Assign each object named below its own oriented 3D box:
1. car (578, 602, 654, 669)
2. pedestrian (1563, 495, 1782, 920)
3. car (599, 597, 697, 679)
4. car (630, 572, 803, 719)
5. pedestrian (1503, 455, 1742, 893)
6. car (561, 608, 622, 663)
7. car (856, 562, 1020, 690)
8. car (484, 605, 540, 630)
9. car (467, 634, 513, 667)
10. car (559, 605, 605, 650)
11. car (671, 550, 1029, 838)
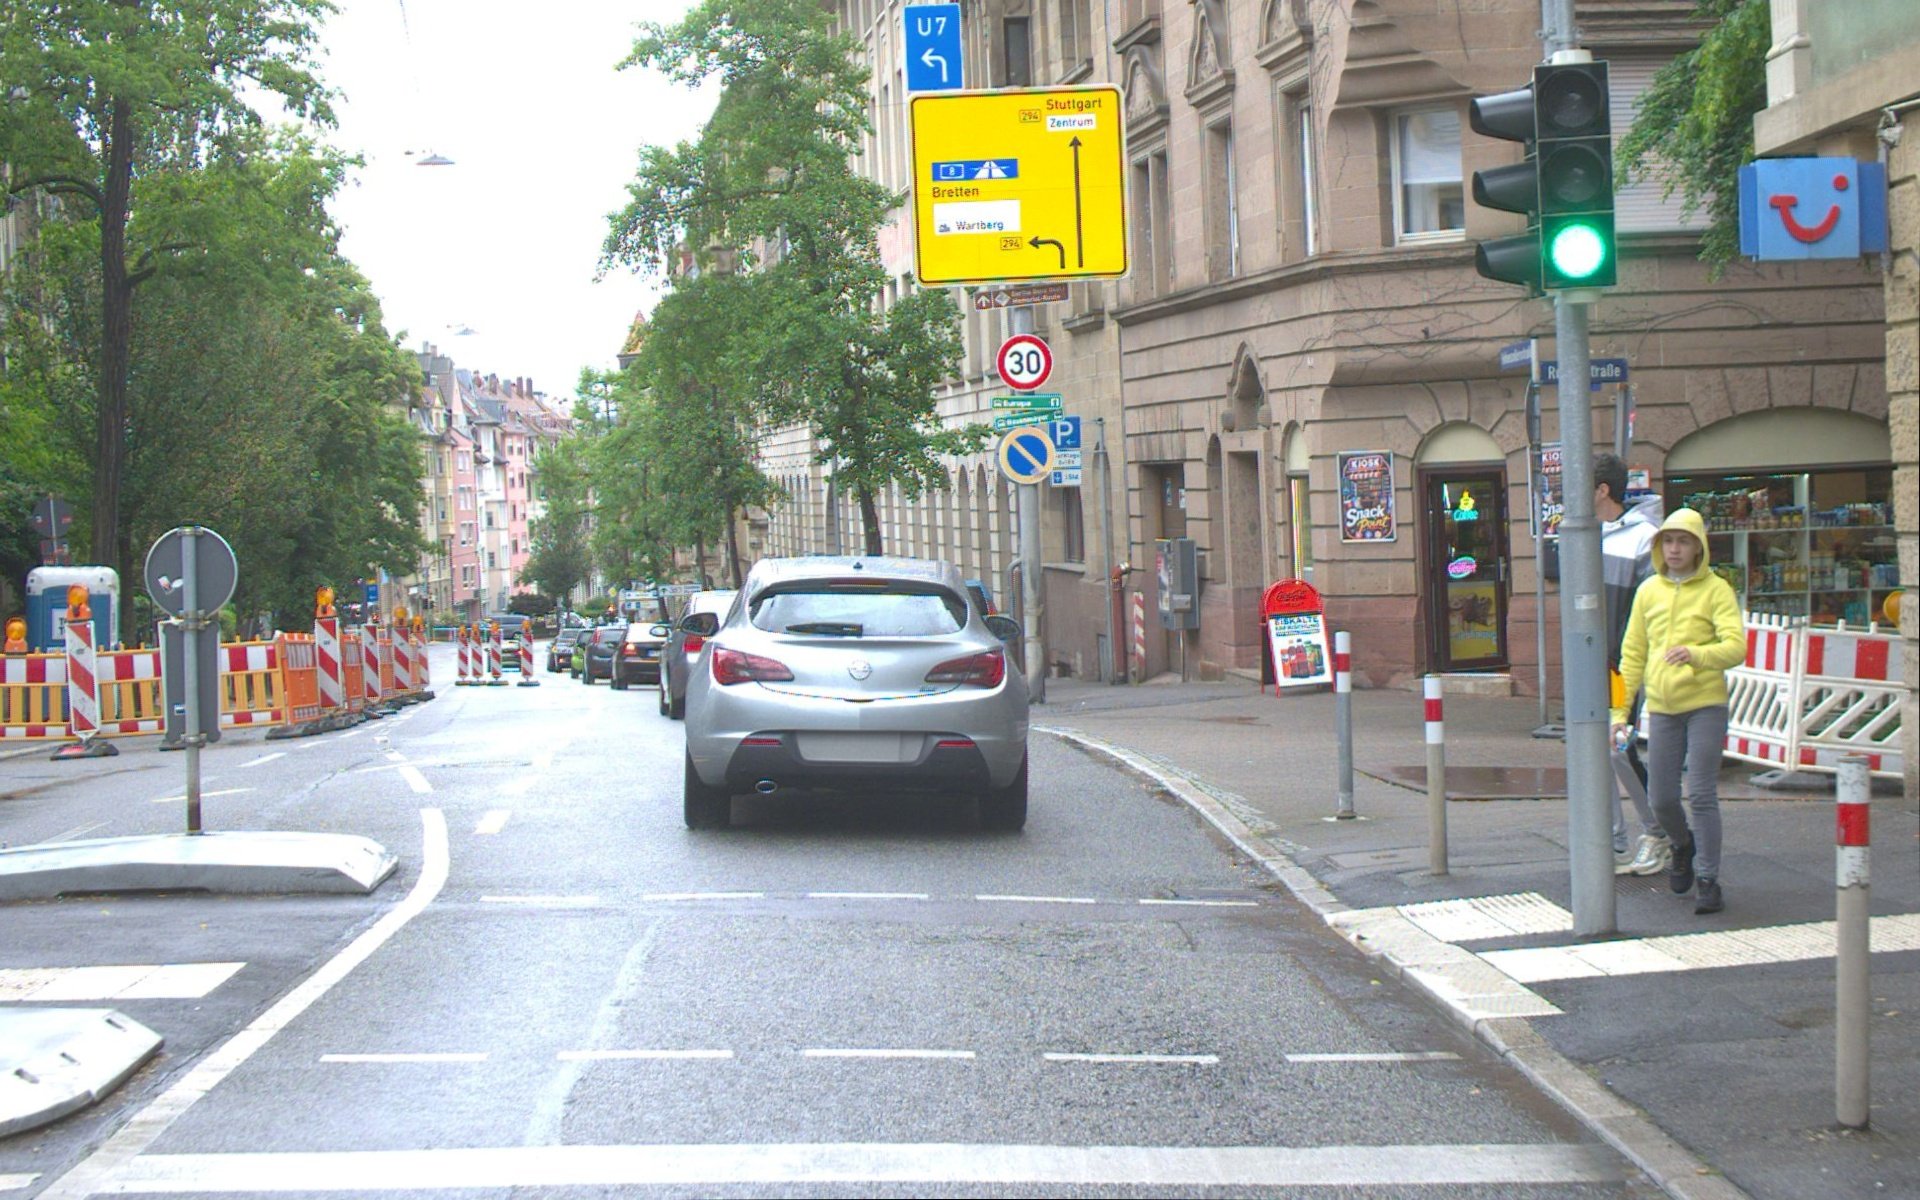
[{"bbox_3d":[-8.651,0.903,86.246,1.656,1.538,3.666,-4,0,-8],"label":"car"},{"bbox_3d":[2.770,0.401,13.407,0.596,1.579,0.665,-4,1,-2],"label":"pedestrian"},{"bbox_3d":[-6.518,0.804,71.490,1.656,1.538,3.666,-4,0,-10],"label":"car"},{"bbox_3d":[-2.695,0.471,37.578,1.772,1.499,3.869,-1,0,-5],"label":"car"},{"bbox_3d":[2.790,0.304,14.454,0.719,1.768,0.664,-3,1,27],"label":"pedestrian"},{"bbox_3d":[-11.335,1.104,105.639,1.656,1.538,3.666,-4,0,-8],"label":"car"},{"bbox_3d":[-0.335,0.359,46.481,1.656,1.538,3.666,-4,0,-8],"label":"car"},{"bbox_3d":[-32.221,1.258,247.201,3.986,1.744,2.000,1,-1,-7],"label":"car"},{"bbox_3d":[-22.644,2.432,165.580,1.993,1.495,4.001,-2,-1,-10],"label":"car"},{"bbox_3d":[-16.583,1.225,150.758,1.715,1.776,3.666,-5,0,-8],"label":"car"},{"bbox_3d":[-0.561,0.484,19.520,1.811,1.445,3.869,-1,0,0],"label":"car"}]
